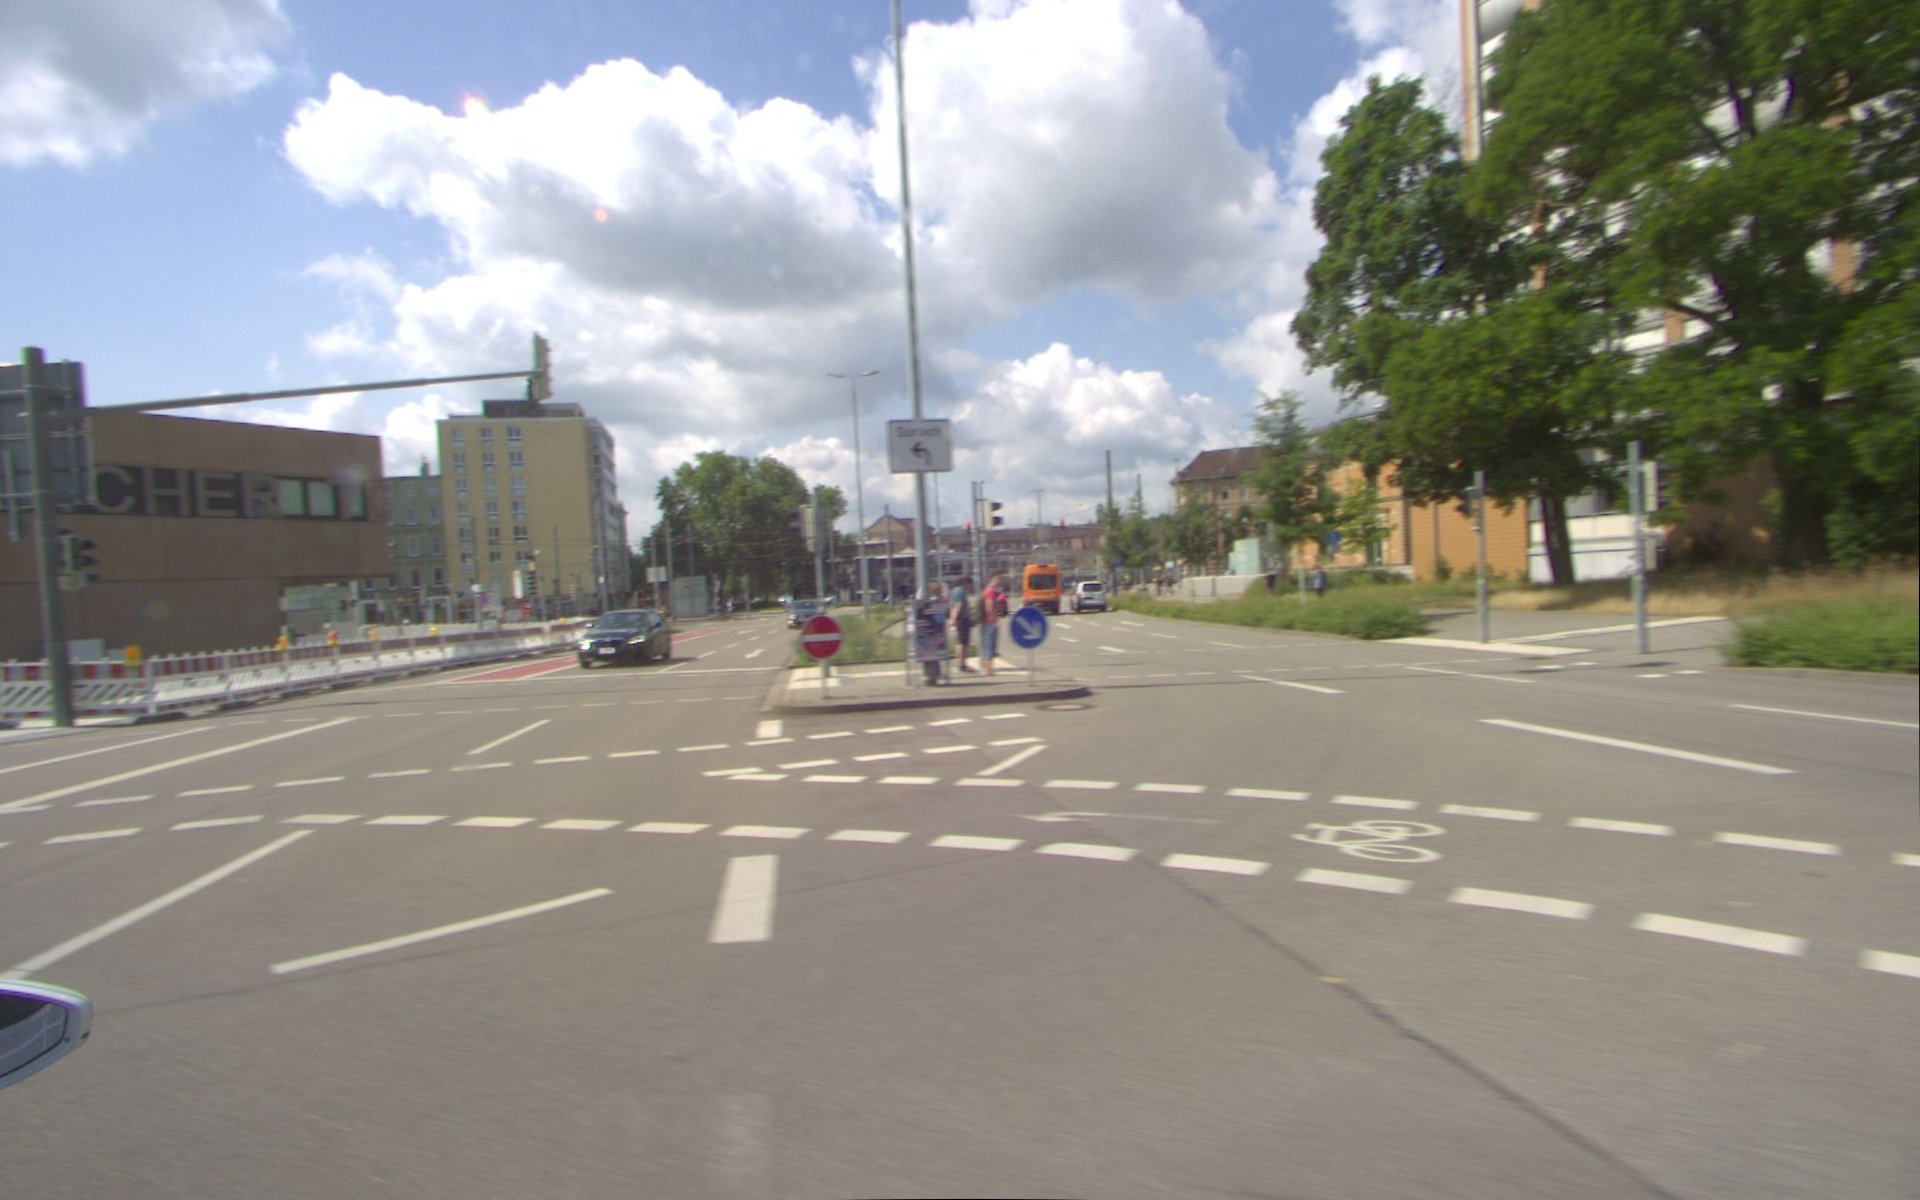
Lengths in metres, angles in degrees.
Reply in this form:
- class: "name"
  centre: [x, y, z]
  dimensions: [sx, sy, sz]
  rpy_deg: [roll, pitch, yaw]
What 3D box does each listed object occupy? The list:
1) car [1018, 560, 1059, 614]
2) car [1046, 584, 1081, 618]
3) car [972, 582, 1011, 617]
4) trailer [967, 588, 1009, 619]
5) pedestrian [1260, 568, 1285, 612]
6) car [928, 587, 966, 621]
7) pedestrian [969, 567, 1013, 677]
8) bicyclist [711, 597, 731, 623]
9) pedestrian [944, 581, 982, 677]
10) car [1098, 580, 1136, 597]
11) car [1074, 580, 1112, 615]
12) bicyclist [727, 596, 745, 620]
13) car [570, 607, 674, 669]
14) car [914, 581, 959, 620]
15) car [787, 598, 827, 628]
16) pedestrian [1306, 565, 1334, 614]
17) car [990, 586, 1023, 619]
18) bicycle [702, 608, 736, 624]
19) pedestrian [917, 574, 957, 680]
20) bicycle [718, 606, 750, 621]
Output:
- class: "car"
  centre: [4.402, -0.731, 56.481]
  dimensions: [2.096, 2.818, 4.637]
  rpy_deg: [-3, 1, 4]
- class: "car"
  centre: [6.653, 0.037, 64.885]
  dimensions: [1.959, 1.964, 4.637]
  rpy_deg: [-3, 1, 4]
- class: "car"
  centre: [1.884, -0.031, 58.167]
  dimensions: [1.962, 1.851, 3.998]
  rpy_deg: [-3, 1, 5]
- class: "trailer"
  centre: [1.555, 0.164, 54.282]
  dimensions: [1.962, 1.497, 3.998]
  rpy_deg: [-3, 1, 5]
- class: "pedestrian"
  centre: [12.991, -0.416, 41.644]
  dimensions: [0.775, 1.808, 0.666]
  rpy_deg: [-3, 1, 3]
- class: "car"
  centre: [-0.759, 0.228, 63.684]
  dimensions: [1.959, 1.964, 4.637]
  rpy_deg: [-3, 1, 4]
- class: "pedestrian"
  centre: [0.506, 0.358, 16.549]
  dimensions: [0.516, 1.757, 0.623]
  rpy_deg: [-3, 2, -11]
- class: "bicyclist"
  centre: [-18.294, 0.772, 76.652]
  dimensions: [1.199, 1.935, 0.858]
  rpy_deg: [-3, 1, 1]
- class: "pedestrian"
  centre: [0.043, 0.518, 18.305]
  dimensions: [0.516, 1.707, 0.623]
  rpy_deg: [-3, 2, -11]
- class: "car"
  centre: [17.981, -1.339, 114.710]
  dimensions: [3.928, 1.662, 1.726]
  rpy_deg: [-3, 1, -17]
- class: "car"
  centre: [7.702, -0.166, 58.405]
  dimensions: [1.962, 1.819, 3.998]
  rpy_deg: [-3, 1, 5]
- class: "bicyclist"
  centre: [-18.216, 0.637, 81.367]
  dimensions: [1.199, 1.935, 0.834]
  rpy_deg: [-3, 1, 1]
- class: "car"
  centre: [-8.919, 0.954, 26.783]
  dimensions: [1.763, 1.406, 4.224]
  rpy_deg: [-3, 0, -7]
- class: "car"
  centre: [-1.274, 0.010, 56.366]
  dimensions: [1.973, 1.993, 4.637]
  rpy_deg: [-3, 1, 4]
- class: "car"
  centre: [-7.988, 0.643, 52.484]
  dimensions: [1.635, 1.500, 4.060]
  rpy_deg: [0, 0, -3]
- class: "pedestrian"
  centre: [13.714, -0.403, 38.184]
  dimensions: [0.775, 1.808, 0.666]
  rpy_deg: [-3, 1, 1]
- class: "car"
  centre: [3.079, 0.135, 64.966]
  dimensions: [1.959, 1.964, 4.637]
  rpy_deg: [-3, 1, 4]
- class: "bicycle"
  centre: [-18.468, 1.209, 76.654]
  dimensions: [2.340, 1.081, 0.858]
  rpy_deg: [-3, 1, 1]
- class: "pedestrian"
  centre: [-0.405, 0.458, 17.159]
  dimensions: [0.516, 1.757, 0.623]
  rpy_deg: [-3, 2, -11]
- class: "bicycle"
  centre: [-18.385, 1.081, 81.386]
  dimensions: [2.340, 1.081, 0.843]
  rpy_deg: [-3, 1, 1]
